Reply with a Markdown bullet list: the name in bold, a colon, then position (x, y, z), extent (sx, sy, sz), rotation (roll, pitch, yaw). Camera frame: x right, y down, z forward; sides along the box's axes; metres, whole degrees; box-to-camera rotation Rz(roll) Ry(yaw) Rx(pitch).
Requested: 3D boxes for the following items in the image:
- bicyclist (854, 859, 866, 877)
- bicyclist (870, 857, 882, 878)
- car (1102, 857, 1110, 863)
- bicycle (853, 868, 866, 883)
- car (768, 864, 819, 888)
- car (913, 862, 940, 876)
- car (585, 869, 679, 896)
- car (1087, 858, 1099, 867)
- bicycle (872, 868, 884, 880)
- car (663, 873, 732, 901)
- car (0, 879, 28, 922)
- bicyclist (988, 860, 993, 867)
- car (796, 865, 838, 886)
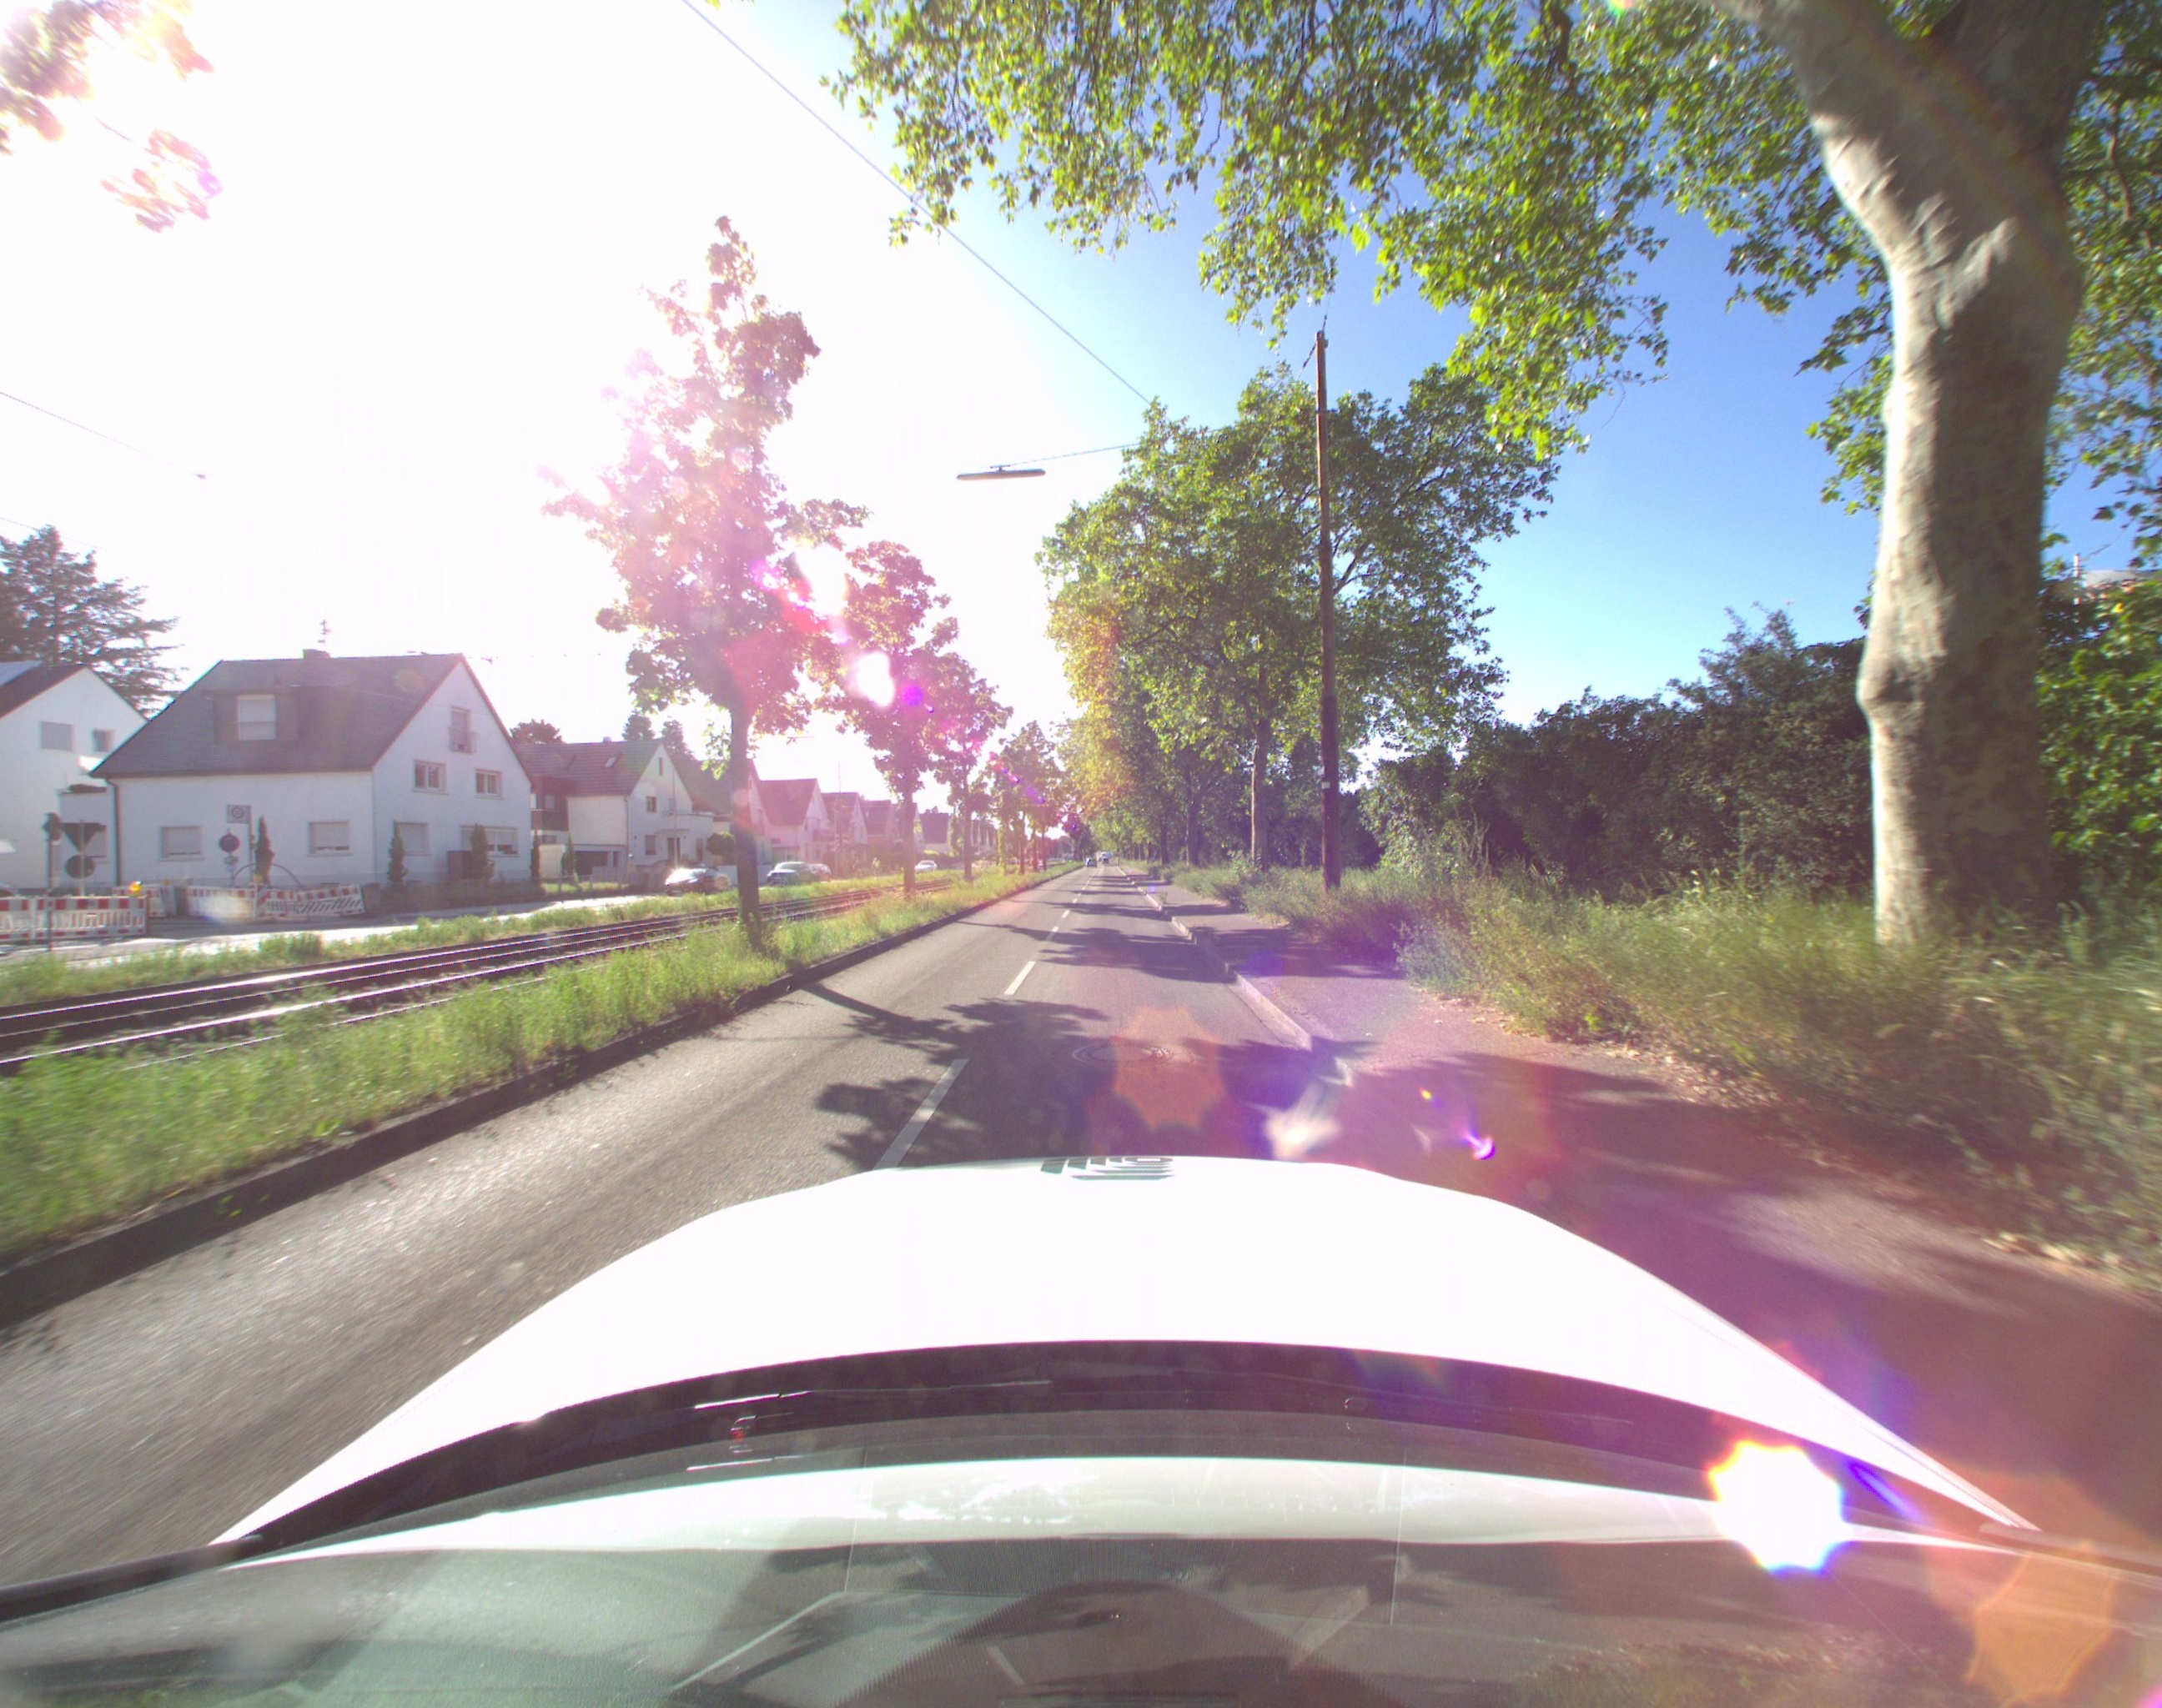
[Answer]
- **bicyclist**: position (-17.011, 1.101, 62.686), extent (0.686, 1.337, 0.882), rotation (-2, 0, 1)
- **bicyclist**: position (-16.781, 1.108, 66.707), extent (0.686, 1.652, 0.882), rotation (-2, 0, 1)
- **car**: position (5.865, 1.402, 192.604), extent (1.754, 1.513, 3.278), rotation (-1, -1, 2)
- **bicycle**: position (-17.002, 1.619, 62.486), extent (0.397, 1.070, 1.881), rotation (-2, 0, 2)
- **car**: position (-19.335, 1.446, 54.922), extent (1.637, 1.568, 4.389), rotation (-1, -1, 3)
- **car**: position (-18.586, 1.765, 98.407), extent (1.984, 1.599, 4.738), rotation (-1, -1, 5)
- **car**: position (-25.320, 1.595, 46.011), extent (4.202, 1.463, 1.936), rotation (0, -1, -3)
- **car**: position (1.820, 1.262, 125.681), extent (1.732, 1.401, 3.277), rotation (-1, -1, 1)
- **bicycle**: position (-16.715, 1.626, 67.146), extent (0.397, 0.927, 2.097), rotation (-2, 0, 2)
- **car**: position (-19.930, 1.679, 42.504), extent (1.487, 1.326, 4.003), rotation (-1, -1, 3)
- **car**: position (-46.341, 2.002, 32.989), extent (1.981, 1.776, 4.011), rotation (-2, 0, 10)
- **bicyclist**: position (-14.921, 1.582, 134.582), extent (0.797, 1.278, 0.736), rotation (0, -1, -3)
- **car**: position (-19.154, 1.568, 59.185), extent (1.608, 1.451, 3.990), rotation (-1, -1, 2)
